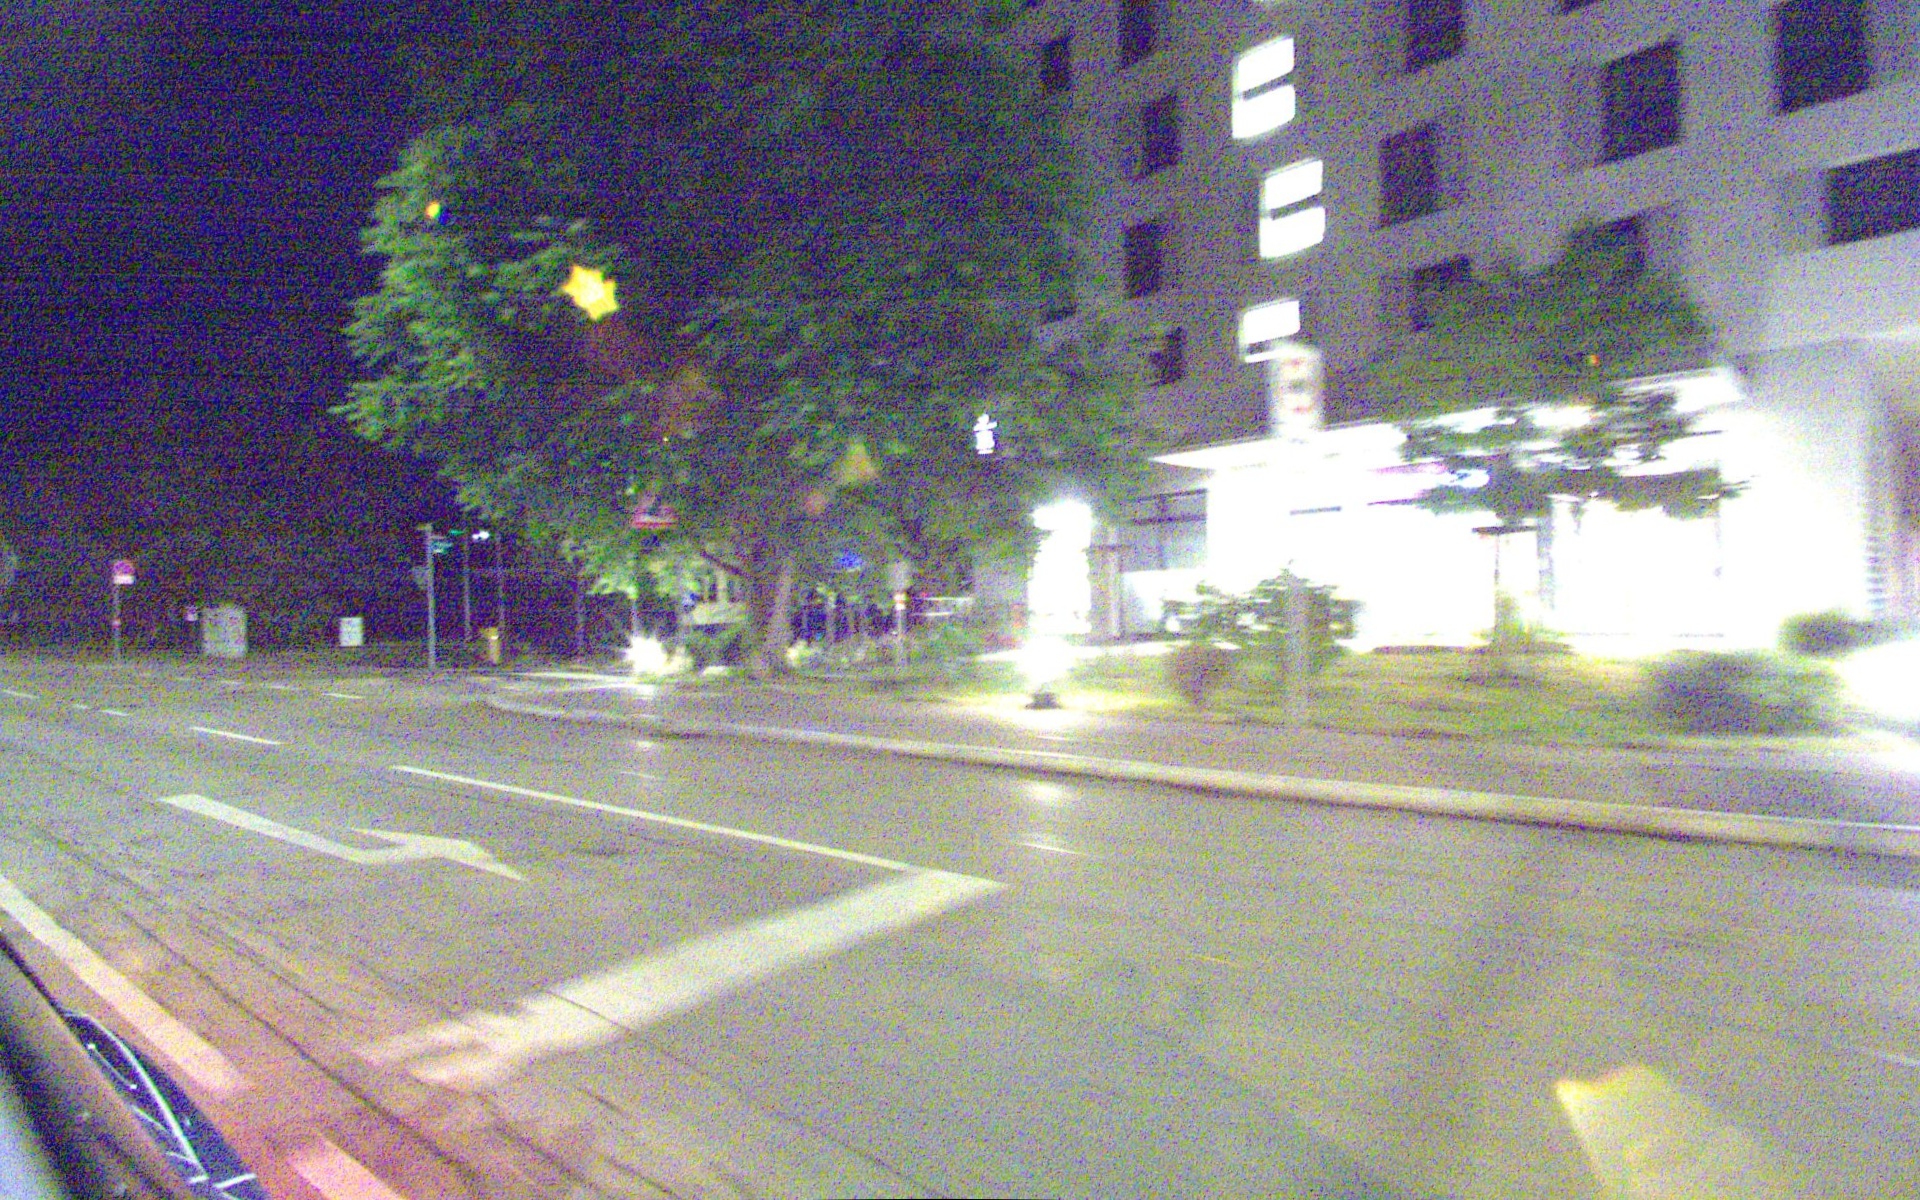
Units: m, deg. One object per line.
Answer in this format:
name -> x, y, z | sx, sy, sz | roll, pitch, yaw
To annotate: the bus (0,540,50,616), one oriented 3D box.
bus -> -94.577, -1.954, 99.199 | 14.770, 6.991, 6.058 | -1, -1, 40
